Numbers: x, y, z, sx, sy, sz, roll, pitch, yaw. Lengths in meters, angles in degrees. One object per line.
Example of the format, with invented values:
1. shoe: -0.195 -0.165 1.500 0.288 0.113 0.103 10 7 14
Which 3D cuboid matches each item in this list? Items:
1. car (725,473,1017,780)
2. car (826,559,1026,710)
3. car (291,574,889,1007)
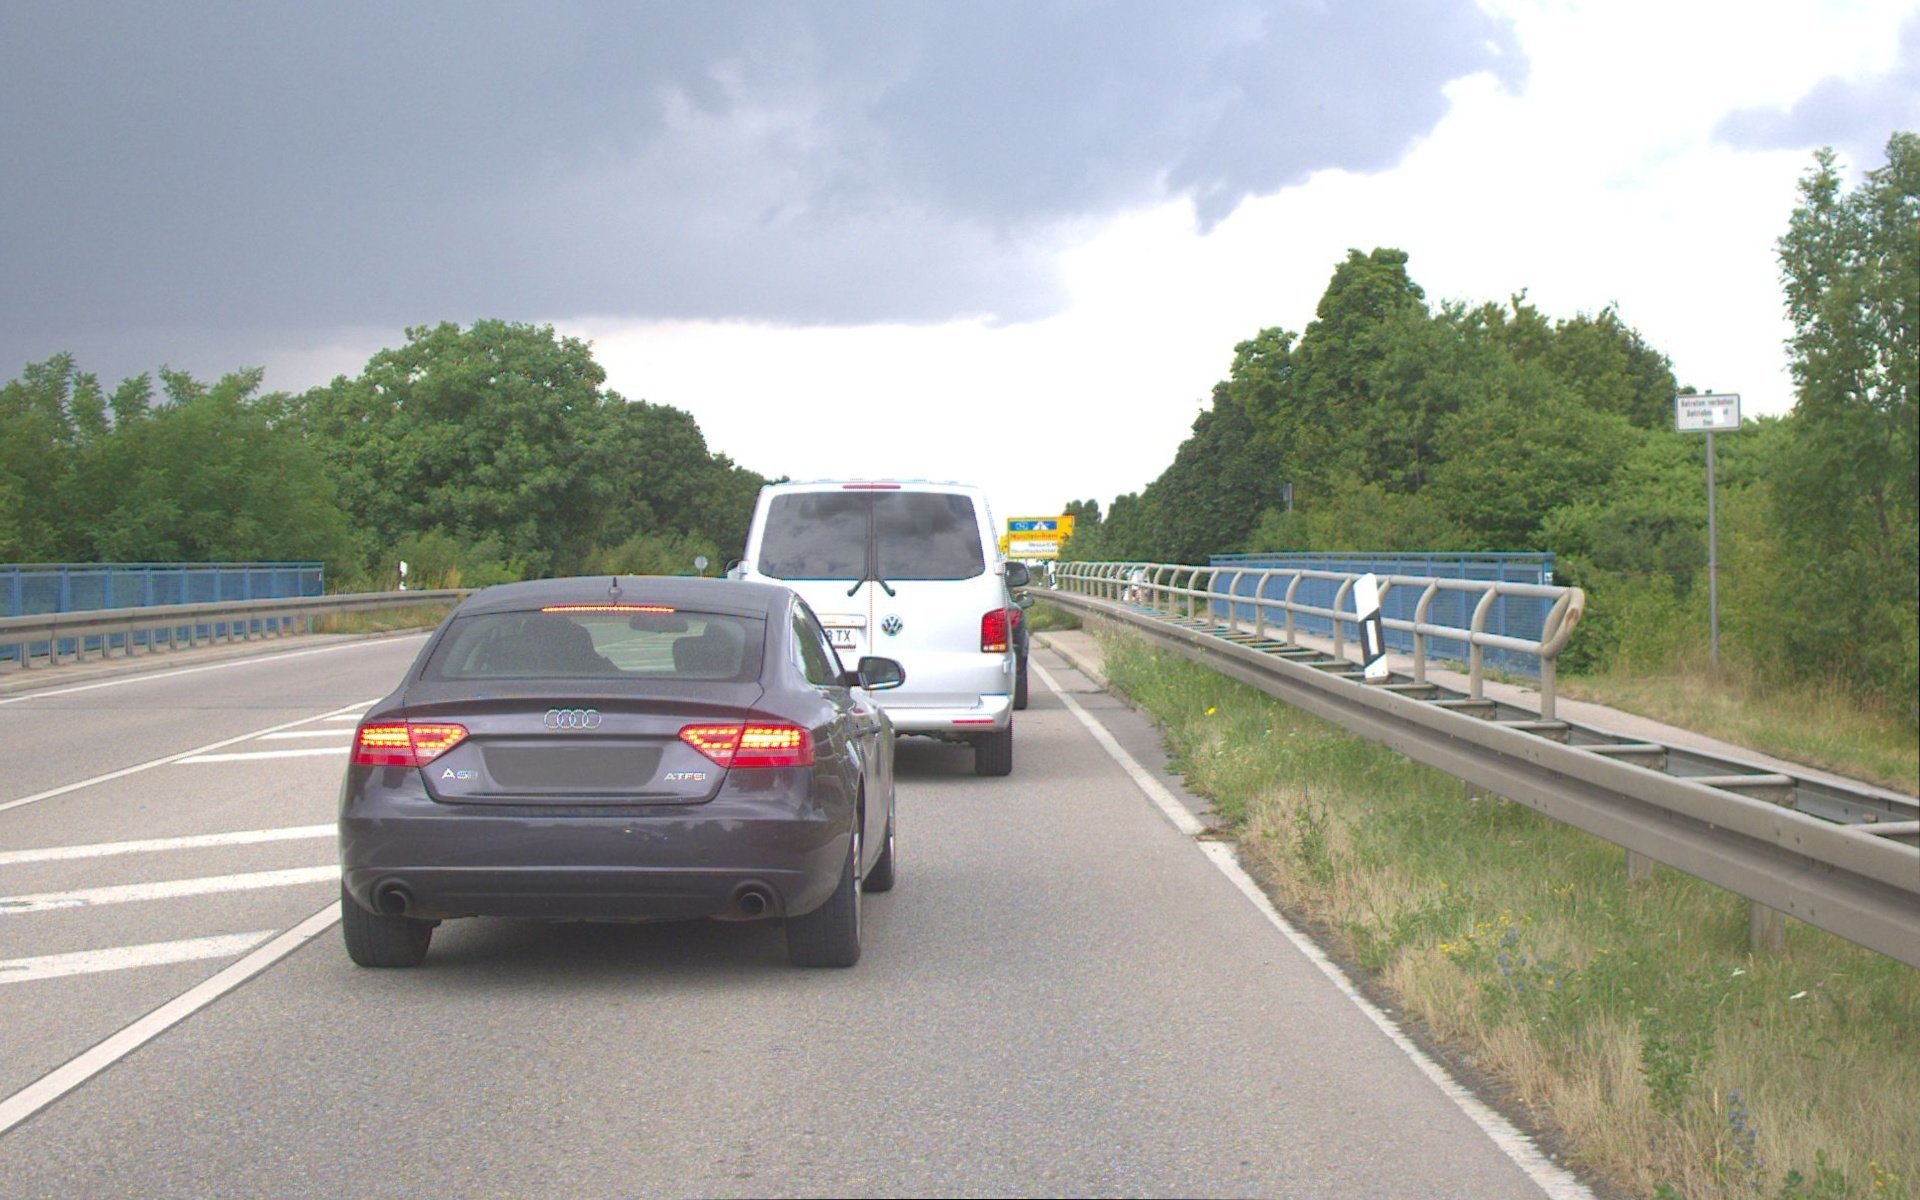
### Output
1. car: -0.581 0.146 23.811 1.828 1.929 4.000 -1 1 0
2. car: -0.283 0.289 33.402 1.821 1.376 4.072 0 1 1
3. car: -1.246 0.604 13.208 1.821 1.376 4.072 -1 1 0
